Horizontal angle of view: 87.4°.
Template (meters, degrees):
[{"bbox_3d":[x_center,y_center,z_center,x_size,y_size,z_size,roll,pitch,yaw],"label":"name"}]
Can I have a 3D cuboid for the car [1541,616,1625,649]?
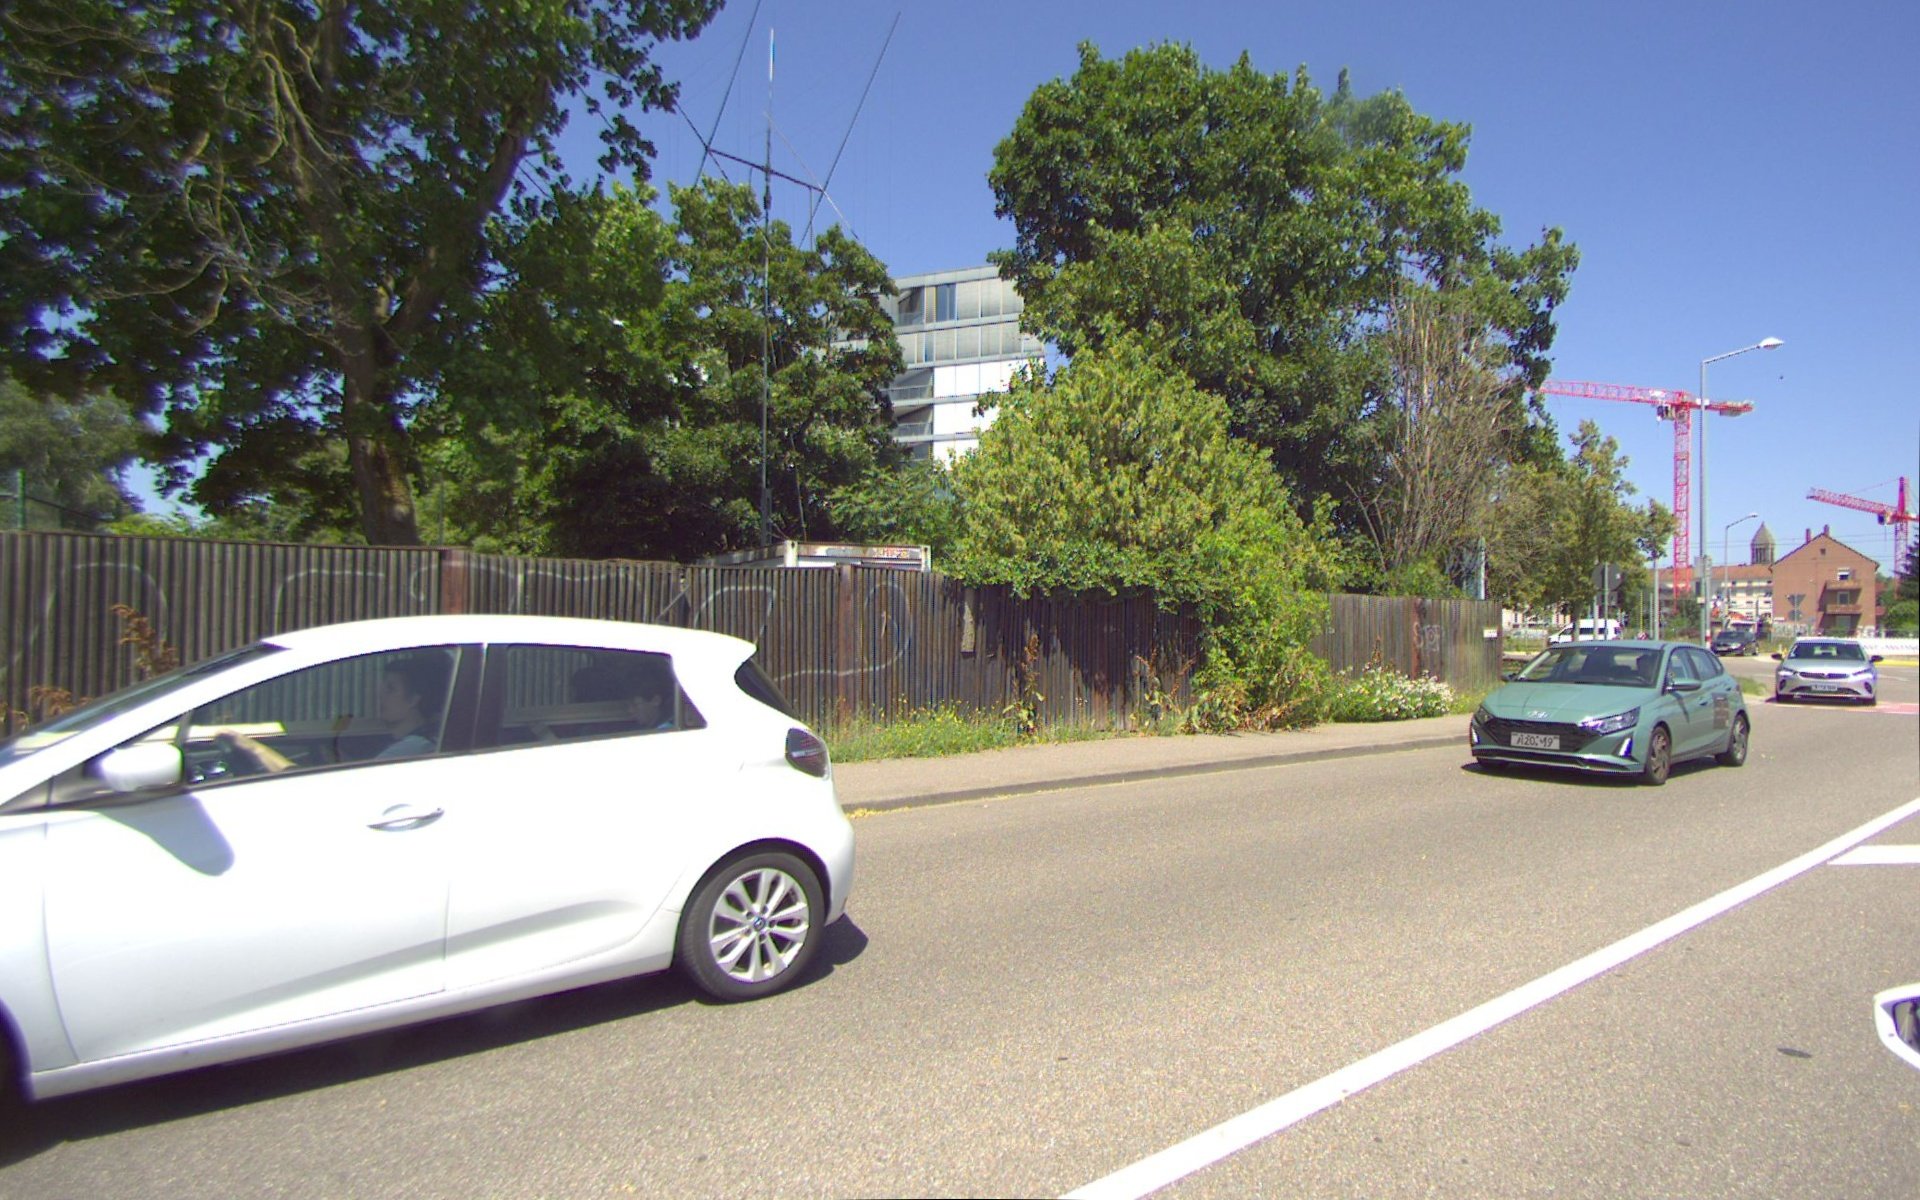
[{"bbox_3d":[49.270,2.533,79.508,1.980,2.429,5.261,2,0,-43],"label":"car"}]

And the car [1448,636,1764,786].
[{"bbox_3d":[7.519,1.123,11.550,4.292,1.390,1.733,1,-2,-38],"label":"car"}]

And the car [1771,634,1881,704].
[{"bbox_3d":[19.927,1.517,23.250,1.706,1.421,4.254,0,-1,38],"label":"car"}]

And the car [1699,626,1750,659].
[{"bbox_3d":[42.639,2.361,55.998,1.732,1.728,3.975,2,0,44],"label":"car"}]

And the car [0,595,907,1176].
[{"bbox_3d":[-2.287,0.794,3.976,3.835,1.547,1.763,1,-2,-36],"label":"car"}]
